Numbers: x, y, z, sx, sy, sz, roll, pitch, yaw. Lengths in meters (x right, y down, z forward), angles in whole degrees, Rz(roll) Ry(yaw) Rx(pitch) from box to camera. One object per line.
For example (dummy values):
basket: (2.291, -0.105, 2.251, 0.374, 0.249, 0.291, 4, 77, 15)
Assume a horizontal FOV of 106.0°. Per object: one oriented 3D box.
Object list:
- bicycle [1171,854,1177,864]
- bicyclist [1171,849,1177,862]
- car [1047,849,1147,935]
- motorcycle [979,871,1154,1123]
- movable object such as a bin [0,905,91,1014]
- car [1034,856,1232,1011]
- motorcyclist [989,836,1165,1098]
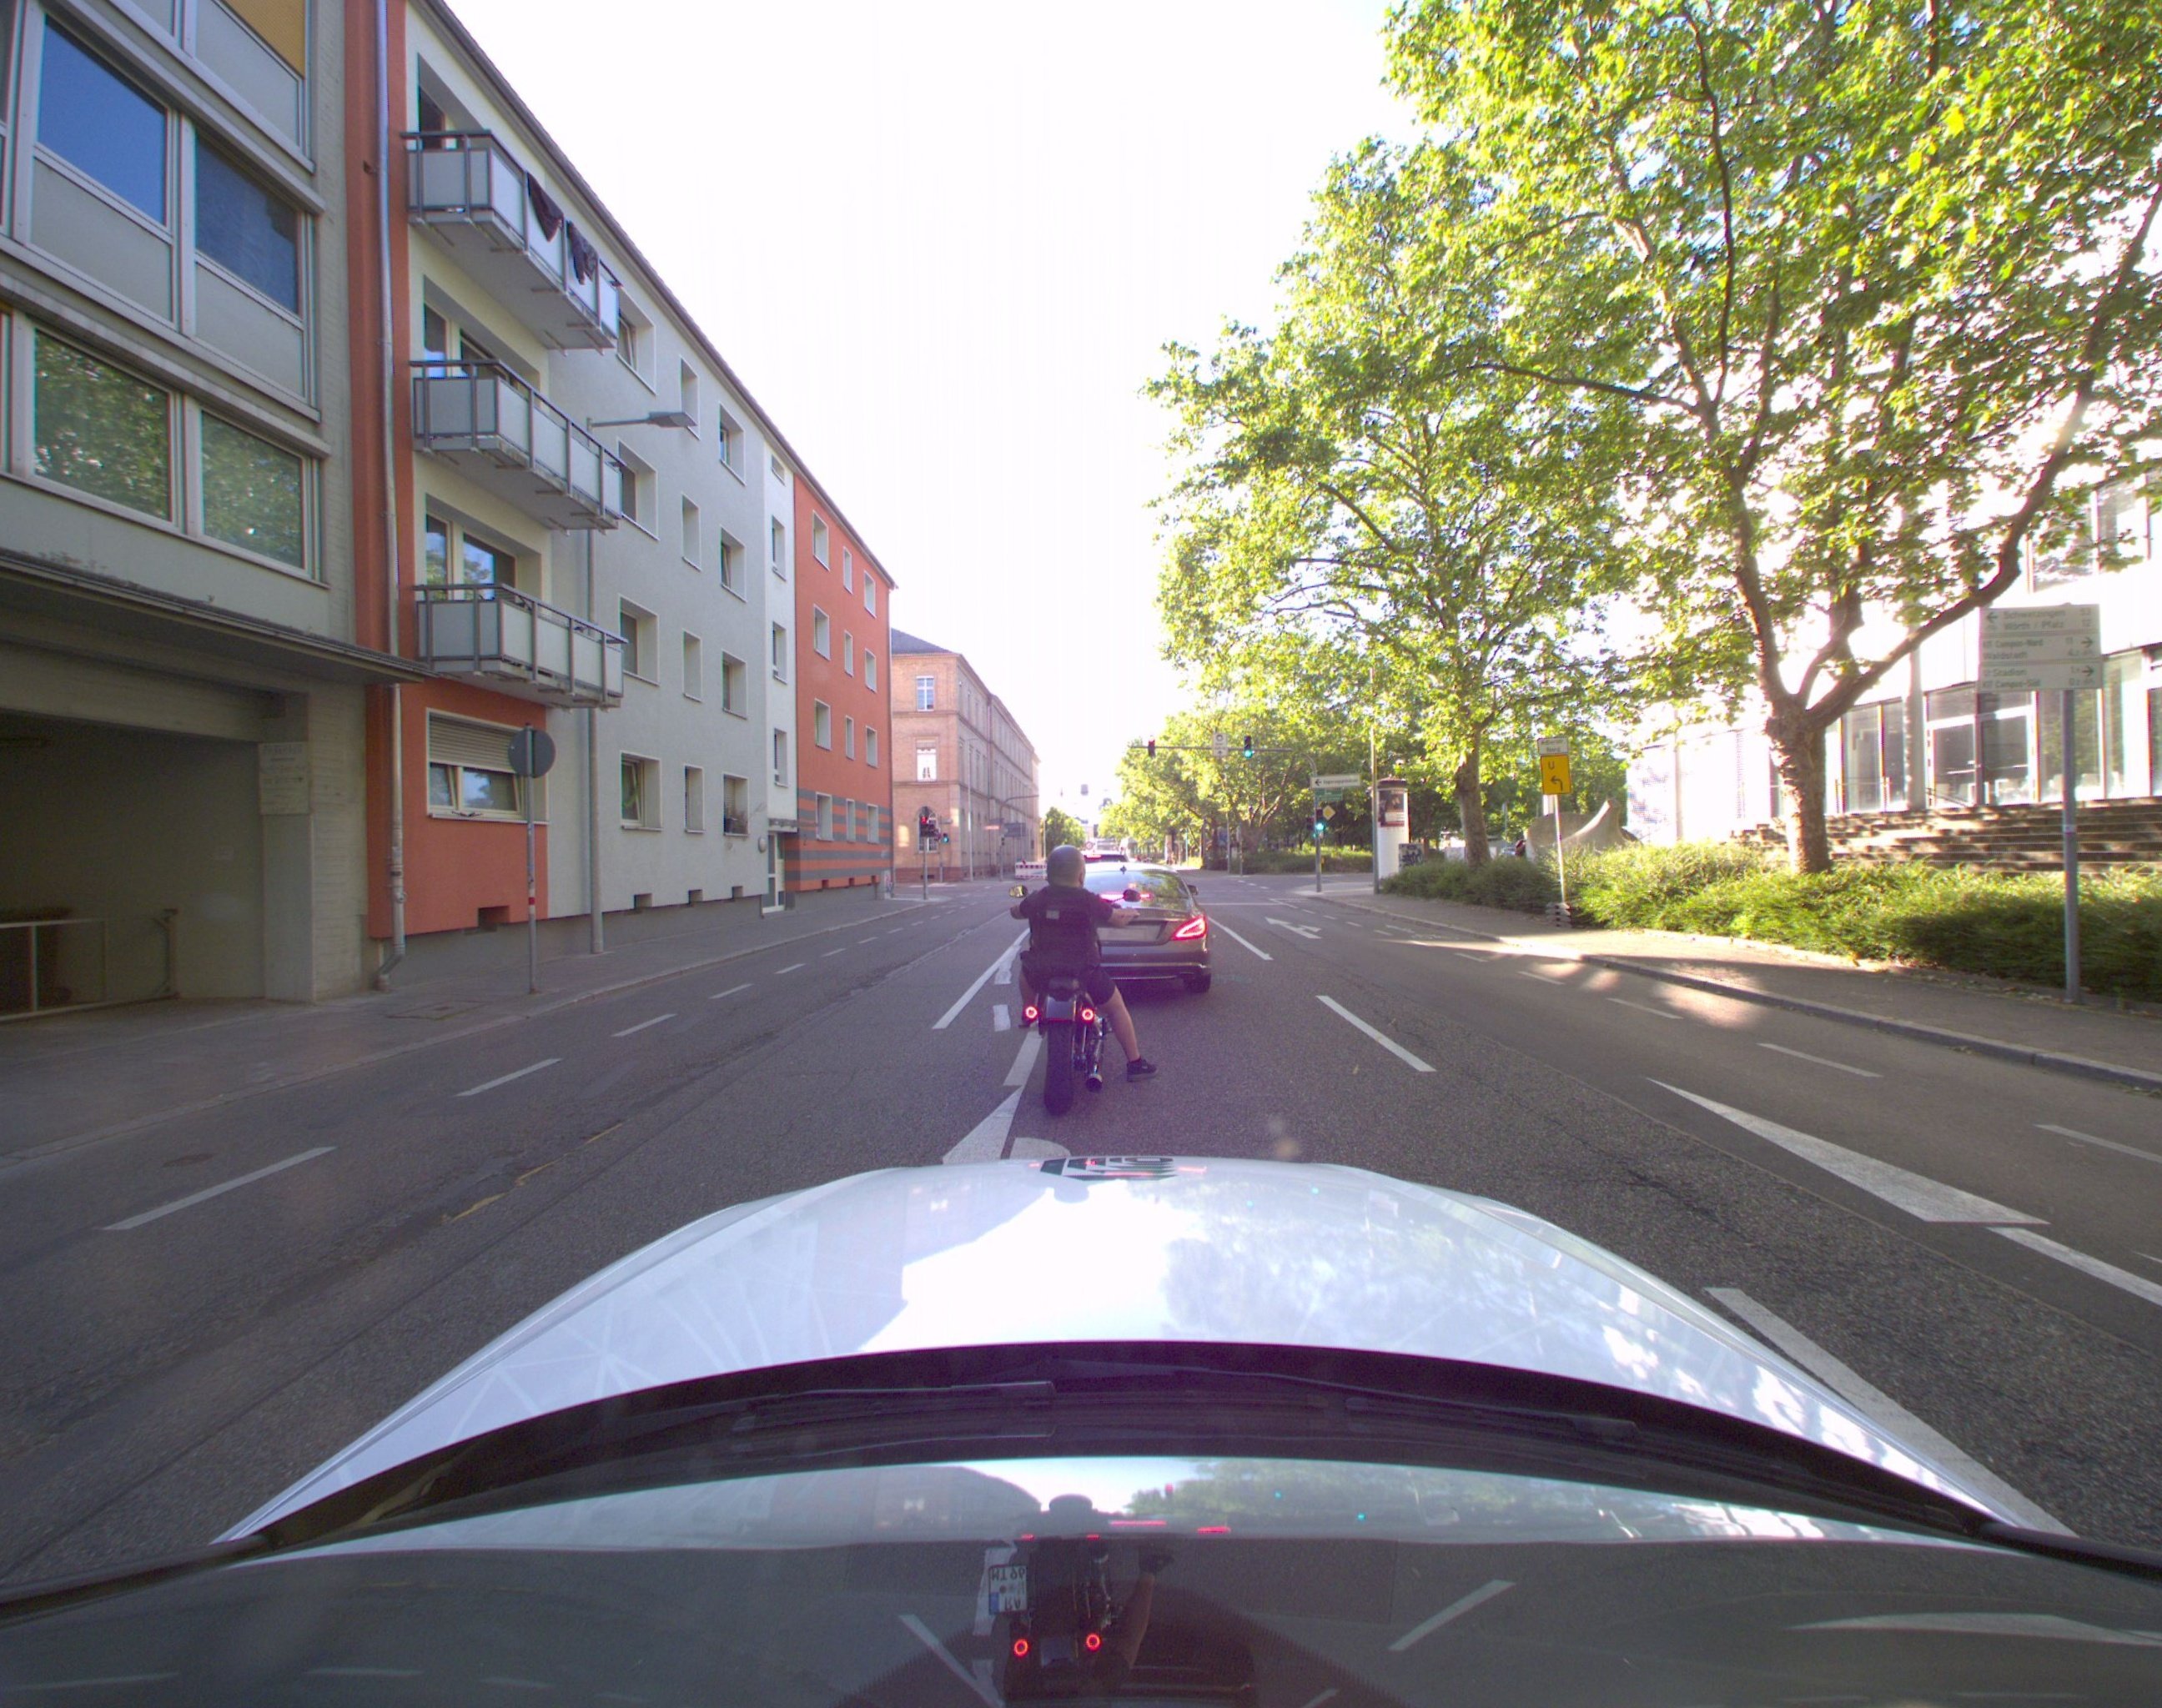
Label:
bicycle: (11.451, 0.643, 100.105, 0.712, 1.172, 2.179, 0, -1, 6)
bicyclist: (11.455, 0.169, 100.163, 0.712, 1.582, 0.937, 0, -1, 6)
car: (0.265, 0.696, 16.895, 1.808, 1.536, 3.847, -1, 0, -1)
motorcycle: (-0.044, 0.813, 5.660, 0.958, 1.357, 2.321, 0, -1, 2)
movable object such as a bin: (-11.328, 1.099, 8.647, 0.736, 1.074, 0.716, 0, -1, 2)
car: (0.481, 0.775, 10.038, 1.896, 1.441, 4.287, -1, 0, -1)
motorcyclist: (-0.009, 0.689, 5.390, 1.057, 1.582, 0.908, 0, -1, 1)
